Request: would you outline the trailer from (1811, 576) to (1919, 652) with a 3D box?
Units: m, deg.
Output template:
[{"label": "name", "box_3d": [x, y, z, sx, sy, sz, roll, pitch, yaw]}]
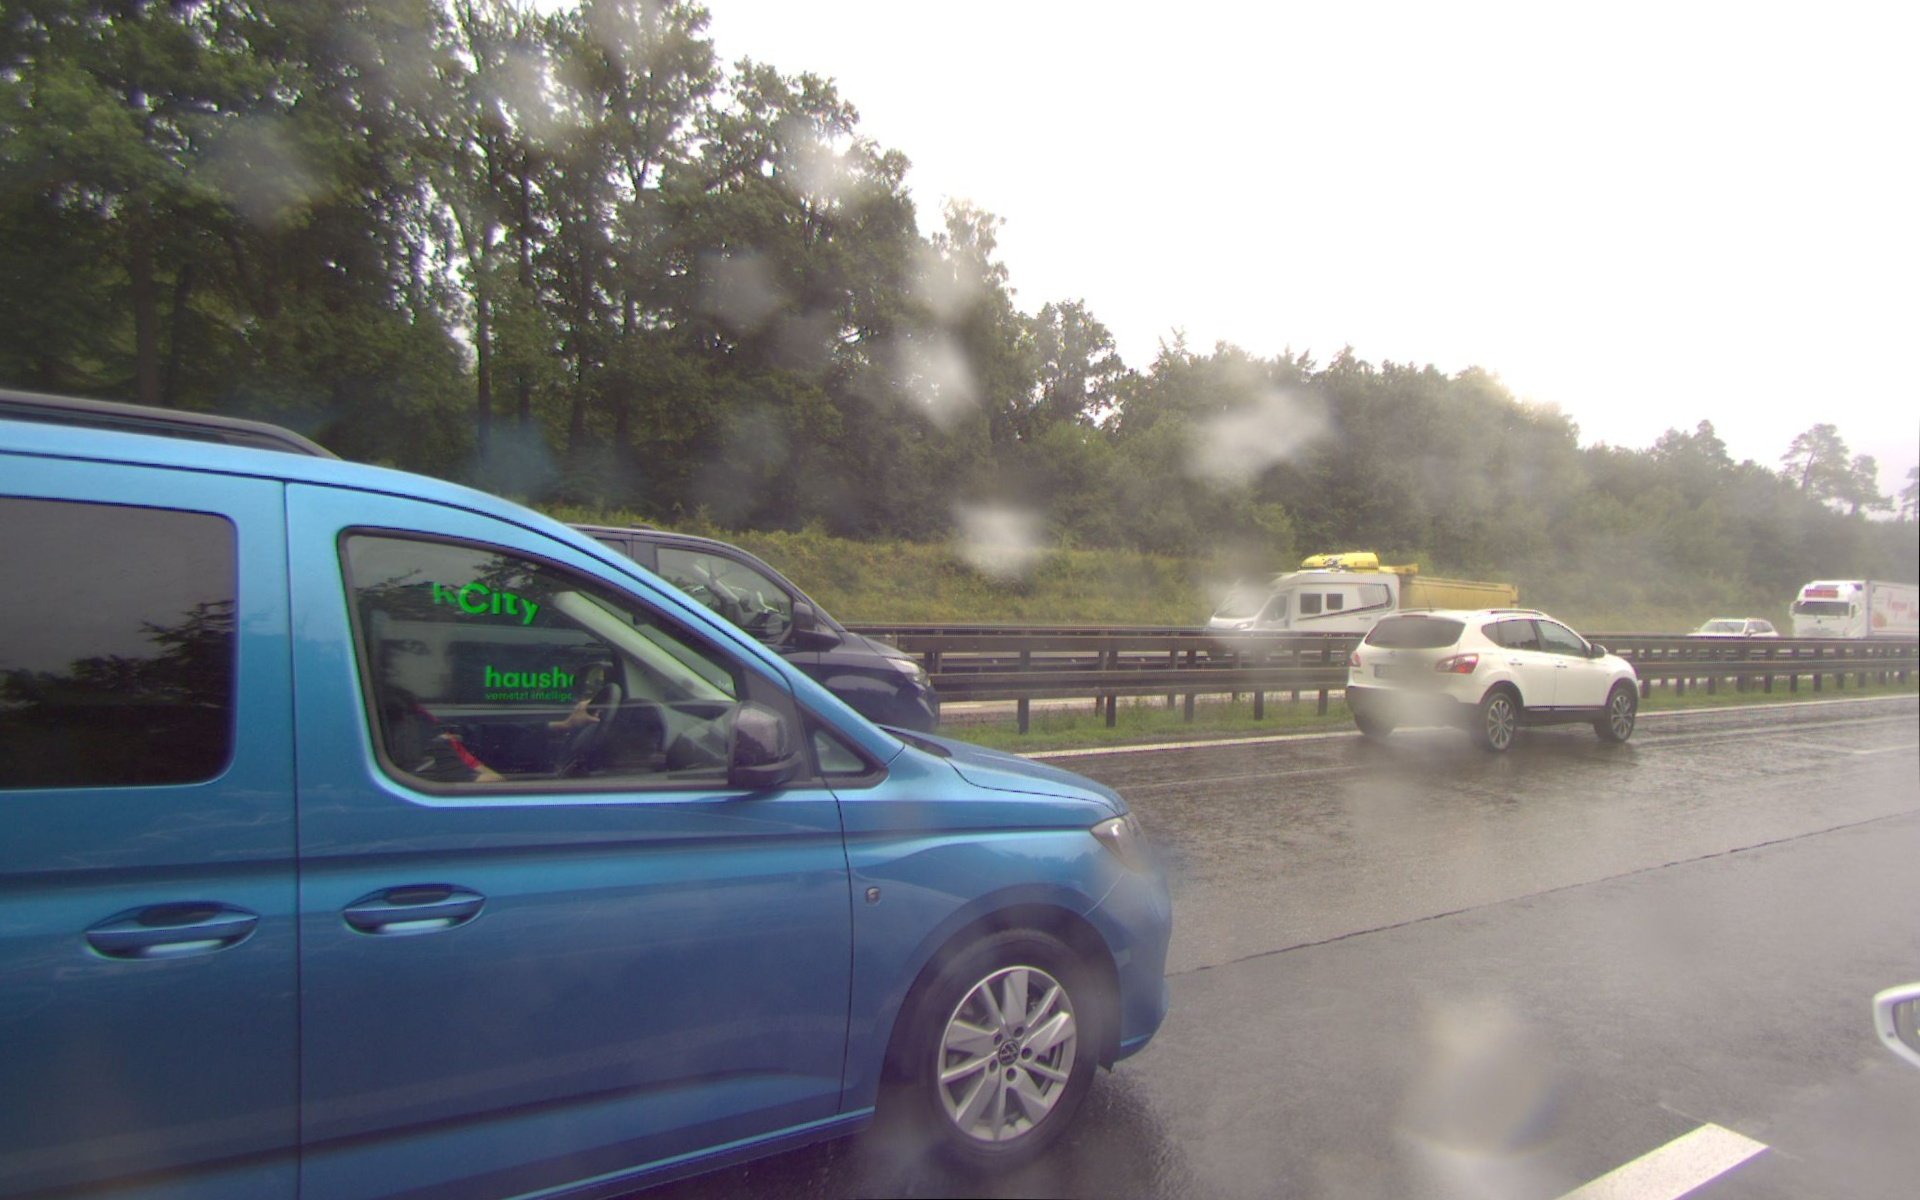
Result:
[{"label": "trailer", "box_3d": [54.121, 0.907, 58.849, 13.699, 4.079, 2.526, 2, 0, -33]}]

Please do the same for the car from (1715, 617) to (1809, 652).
[{"label": "car", "box_3d": [32.656, 1.393, 40.902, 3.955, 1.363, 1.792, 2, -1, -32]}]

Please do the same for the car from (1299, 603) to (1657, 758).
[{"label": "car", "box_3d": [6.476, 0.881, 12.453, 4.413, 1.613, 1.837, 1, 0, -30]}]

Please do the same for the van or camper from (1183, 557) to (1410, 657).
[{"label": "van or camper", "box_3d": [10.826, 0.282, 31.960, 7.909, 2.908, 2.155, 1, 0, -31]}]

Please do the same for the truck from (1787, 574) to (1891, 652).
[{"label": "truck", "box_3d": [48.189, 0.738, 55.029, 6.253, 4.079, 2.527, 1, 0, -32]}]

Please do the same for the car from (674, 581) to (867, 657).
[{"label": "car", "box_3d": [-4.319, 0.428, 23.017, 3.953, 1.600, 1.837, 1, 0, -30]}]

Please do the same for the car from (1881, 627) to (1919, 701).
[{"label": "car", "box_3d": [23.181, 1.463, 22.974, 4.413, 1.613, 1.837, 1, 0, -30]}]

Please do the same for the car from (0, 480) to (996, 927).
[{"label": "car", "box_3d": [-2.489, 0.508, 6.598, 5.181, 1.970, 1.982, 2, 0, -30]}]

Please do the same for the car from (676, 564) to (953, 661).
[{"label": "car", "box_3d": [-2.287, 0.190, 16.072, 3.958, 1.363, 1.950, 1, 0, -34]}]

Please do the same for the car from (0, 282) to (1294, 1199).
[{"label": "car", "box_3d": [-1.698, 0.475, 2.740, 4.957, 1.937, 2.258, 1, 0, -31]}]

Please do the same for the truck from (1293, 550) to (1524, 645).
[{"label": "truck", "box_3d": [18.688, 0.030, 41.340, 11.585, 3.530, 2.506, 1, 0, -31]}]
